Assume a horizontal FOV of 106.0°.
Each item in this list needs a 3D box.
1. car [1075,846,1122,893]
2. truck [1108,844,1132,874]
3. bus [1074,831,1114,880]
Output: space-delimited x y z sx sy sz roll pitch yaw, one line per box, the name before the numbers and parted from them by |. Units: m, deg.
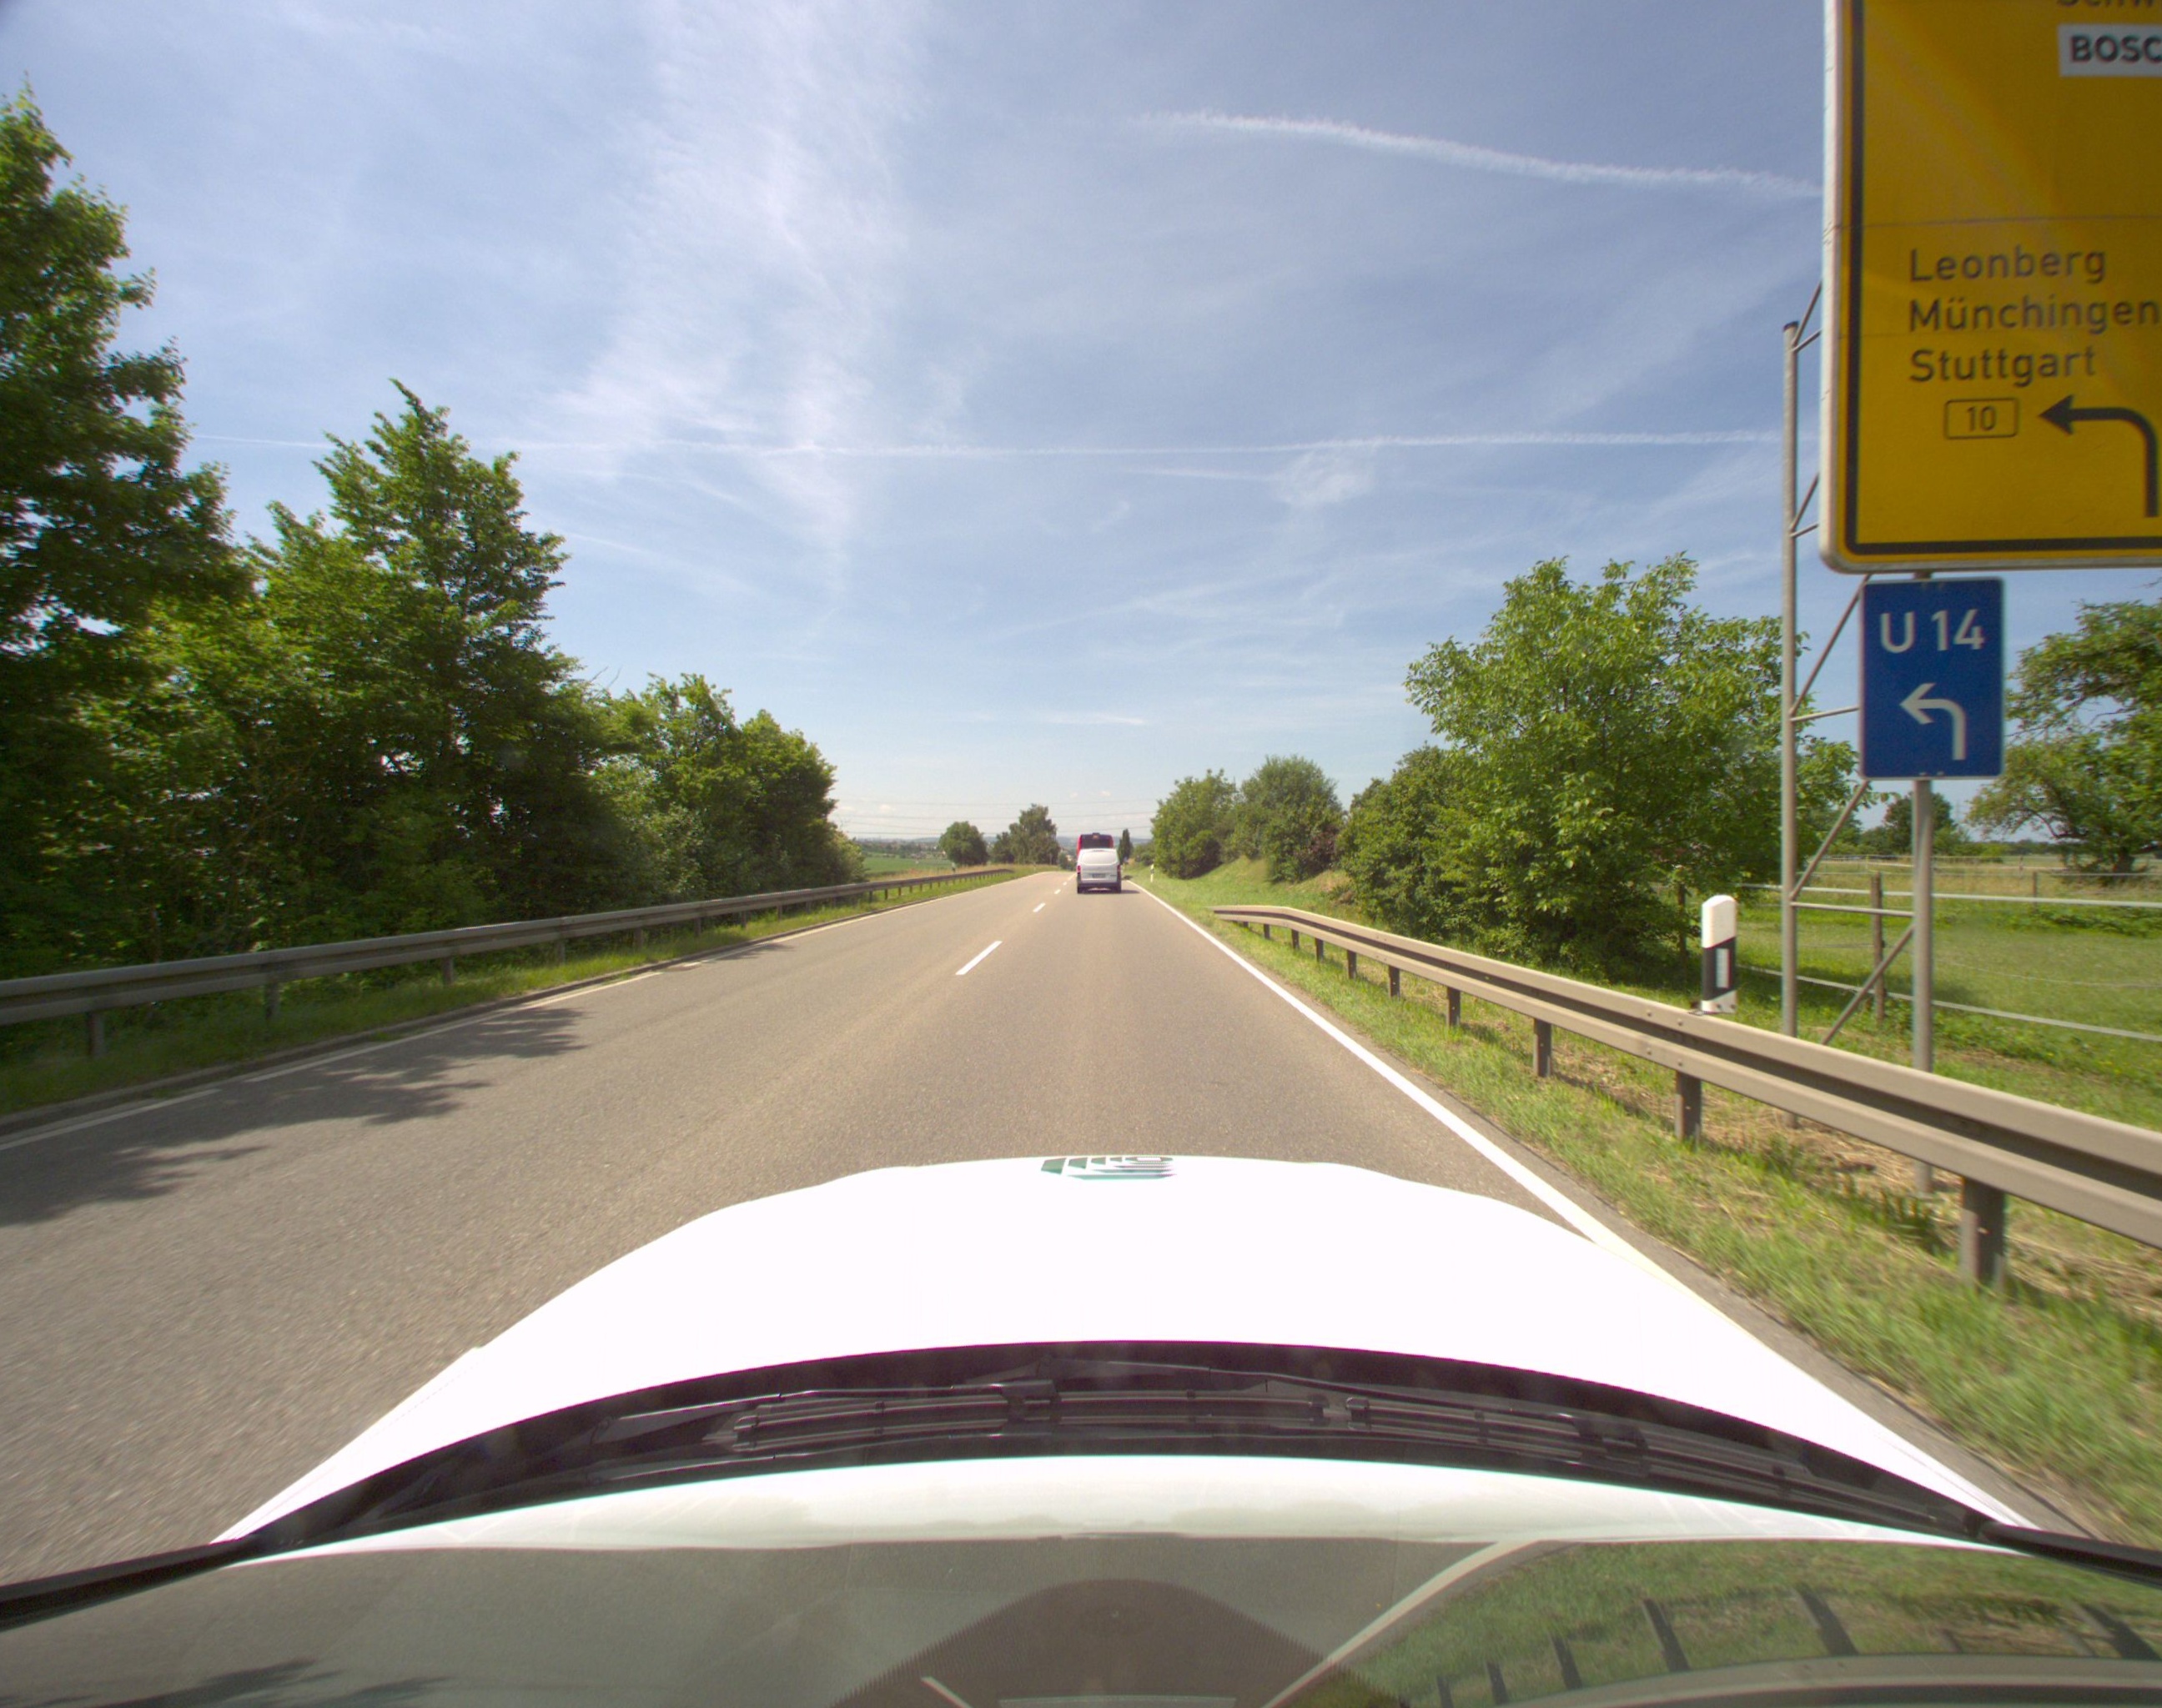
car | 0.768 0.613 35.391 1.916 1.889 4.002 0 1 1
truck | 6.120 0.877 129.231 3.475 4.424 14.906 0 -1 2
bus | 1.042 0.015 63.394 2.737 3.353 13.224 -1 0 1
